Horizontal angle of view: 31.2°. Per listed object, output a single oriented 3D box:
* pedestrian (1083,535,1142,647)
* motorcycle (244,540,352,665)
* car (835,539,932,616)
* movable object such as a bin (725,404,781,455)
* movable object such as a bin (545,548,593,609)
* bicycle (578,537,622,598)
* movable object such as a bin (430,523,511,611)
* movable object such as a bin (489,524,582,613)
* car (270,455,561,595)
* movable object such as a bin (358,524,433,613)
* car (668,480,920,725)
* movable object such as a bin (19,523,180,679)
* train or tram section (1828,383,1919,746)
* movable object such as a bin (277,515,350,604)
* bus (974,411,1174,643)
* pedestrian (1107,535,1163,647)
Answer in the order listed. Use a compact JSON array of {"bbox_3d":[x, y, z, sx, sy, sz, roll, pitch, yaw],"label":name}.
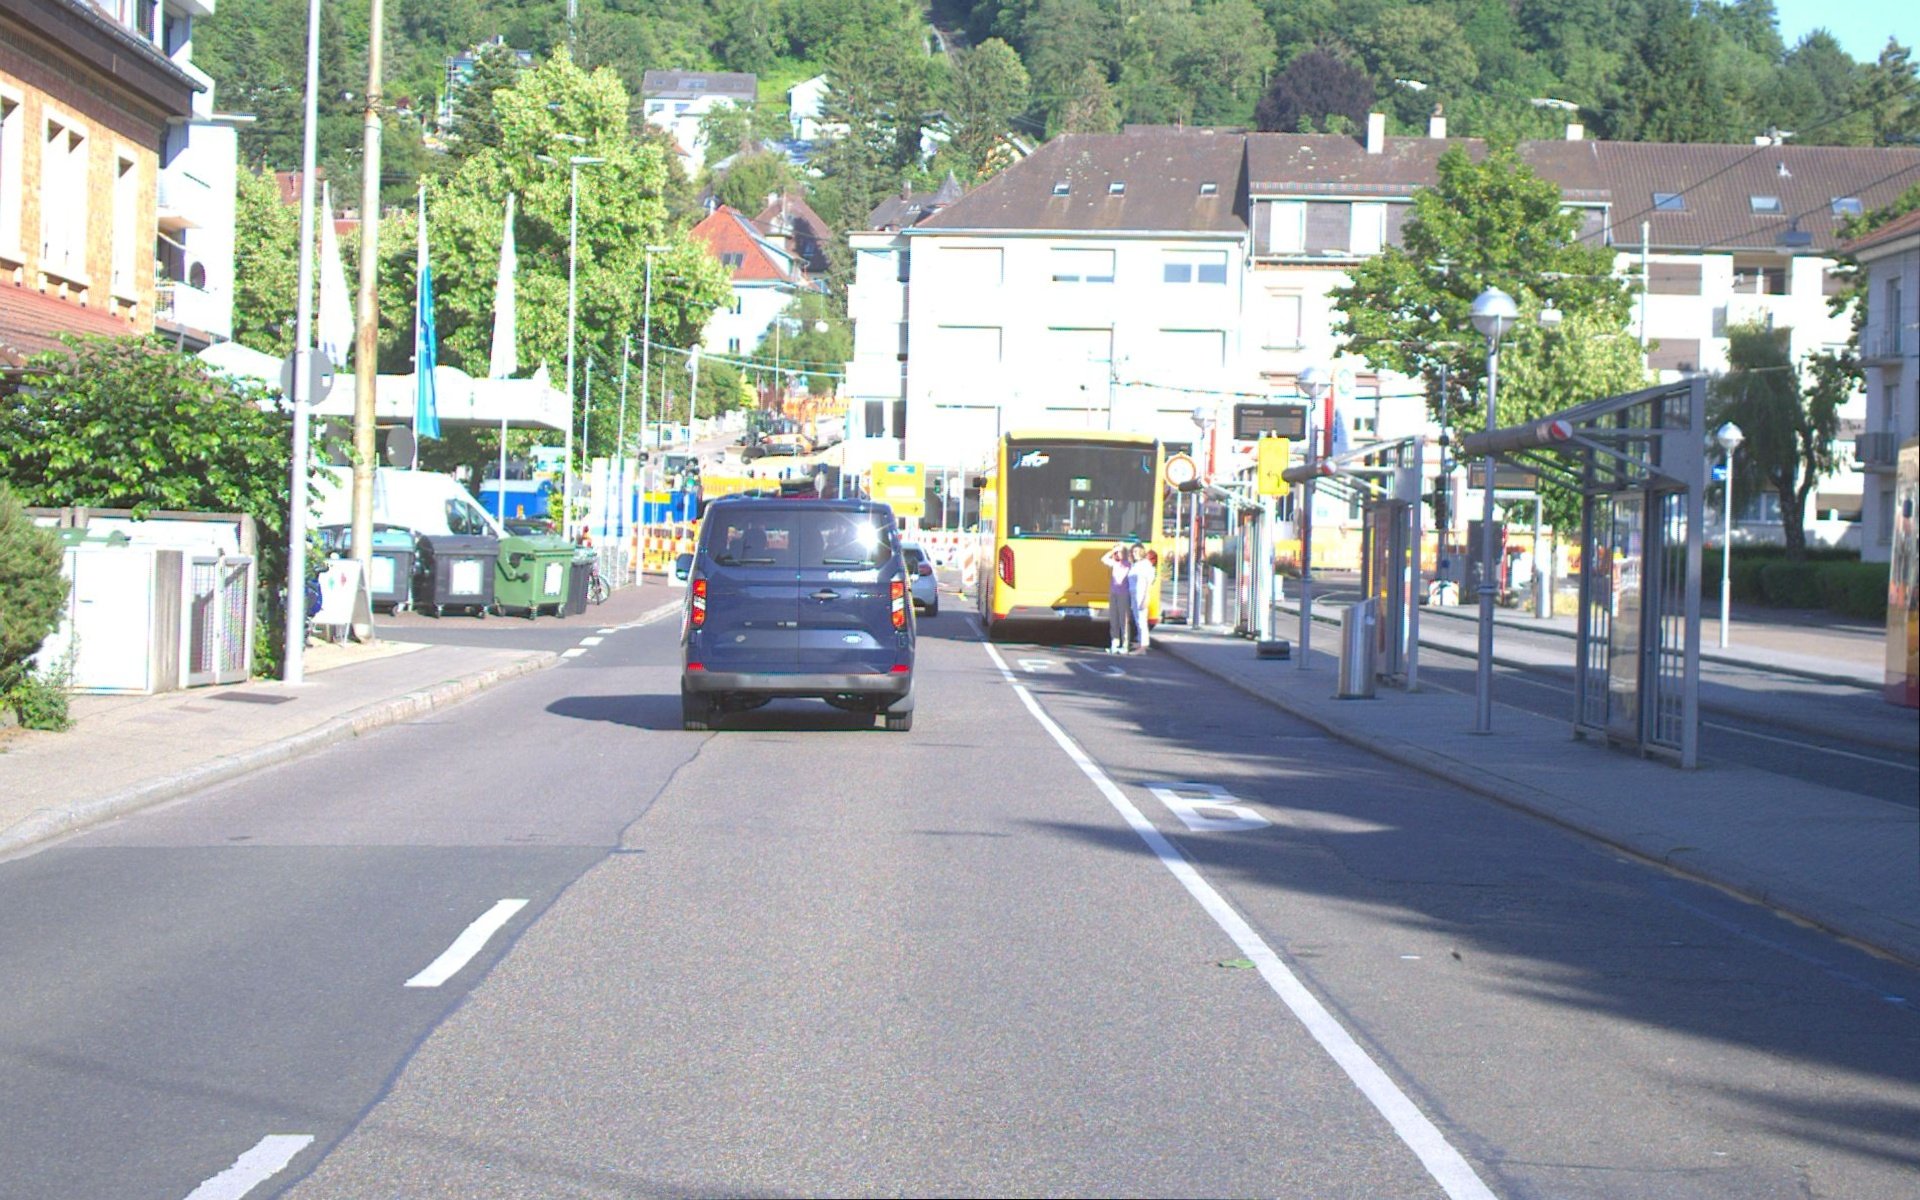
[{"bbox_3d":[2.229,-0.133,50.217,0.544,1.607,0.636,1,1,-38],"label":"pedestrian"},{"bbox_3d":[-7.165,0.008,37.322,0.839,1.278,2.233,2,1,-4],"label":"motorcycle"},{"bbox_3d":[-1.492,-0.458,67.323,1.794,1.405,4.000,2,1,-1],"label":"car"},{"bbox_3d":[-11.645,-9.584,193.480,2.192,2.681,3.998,2,2,10],"label":"movable object such as a bin"},{"bbox_3d":[-7.113,-0.395,62.561,0.660,1.059,0.585,4,3,11],"label":"movable object such as a bin"},{"bbox_3d":[-7.141,-0.651,68.120,0.723,1.174,1.781,1,1,-10],"label":"bicycle"},{"bbox_3d":[-8.587,-0.583,60.305,1.218,1.477,0.704,-1,5,-29],"label":"movable object such as a bin"},{"bbox_3d":[-7.571,-0.571,61.308,1.056,1.477,1.310,4,5,28],"label":"movable object such as a bin"},{"bbox_3d":[-10.386,-1.422,65.544,5.054,2.461,2.109,2,1,-22],"label":"car"},{"bbox_3d":[-9.849,-0.550,60.028,1.218,1.477,0.704,1,4,-5],"label":"movable object such as a bin"},{"bbox_3d":[-1.405,-0.026,30.774,2.061,2.007,5.000,0,1,-1],"label":"car"},{"bbox_3d":[-8.131,0.001,32.530,1.307,1.425,0.992,1,1,-5],"label":"movable object such as a bin"},{"bbox_3d":[10.880,-0.301,28.582,2.957,3.522,15.971,1,0,-1],"label":"train or tram section"},{"bbox_3d":[-11.257,-0.705,59.894,1.177,1.477,0.704,1,4,-5],"label":"movable object such as a bin"},{"bbox_3d":[1.735,-1.256,57.437,2.688,3.404,12.020,1,2,-1],"label":"bus"},{"bbox_3d":[2.537,-0.128,49.822,0.544,1.607,0.549,1,1,-38],"label":"pedestrian"}]
